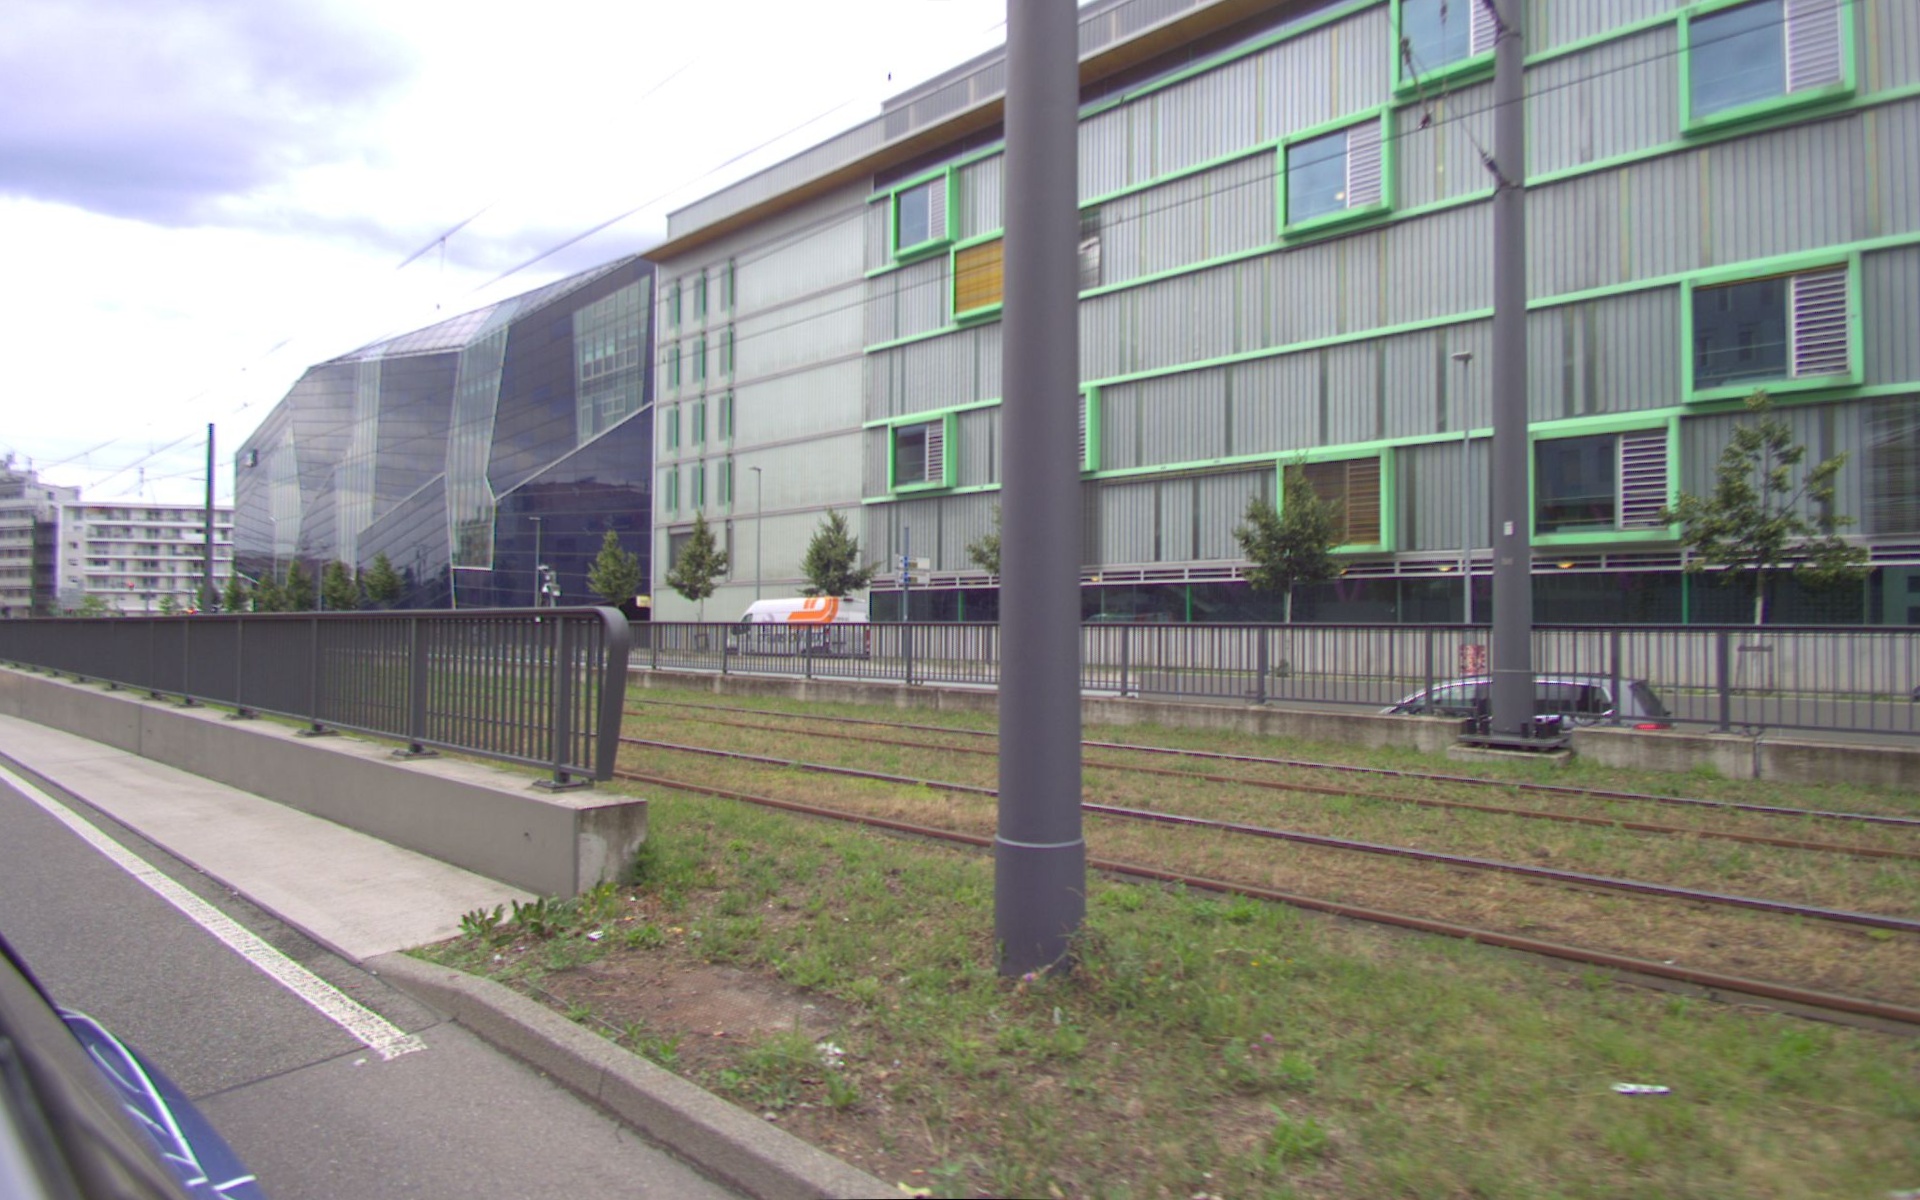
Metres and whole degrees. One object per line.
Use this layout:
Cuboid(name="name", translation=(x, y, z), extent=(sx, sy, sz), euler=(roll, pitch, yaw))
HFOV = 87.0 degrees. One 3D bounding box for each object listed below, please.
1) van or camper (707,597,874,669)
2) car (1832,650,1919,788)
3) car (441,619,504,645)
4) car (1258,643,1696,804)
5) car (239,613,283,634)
Cuboid(name="van or camper", translation=(-6.006, 1.121, 35.232), extent=(6.504, 2.304, 2.150), euler=(-1, -1, 42))
Cuboid(name="car", translation=(16.537, 1.735, 15.241), extent=(4.967, 2.029, 1.973), euler=(-6, -4, 40))
Cuboid(name="car", translation=(-32.274, 2.105, 66.985), extent=(4.762, 1.605, 1.973), euler=(-3, -3, 40))
Cuboid(name="car", translation=(6.949, 1.655, 13.971), extent=(4.967, 1.776, 1.973), euler=(-6, -4, 40))
Cuboid(name="car", translation=(-57.283, 1.923, 82.906), extent=(4.767, 1.605, 1.971), euler=(-3, -3, 43))
